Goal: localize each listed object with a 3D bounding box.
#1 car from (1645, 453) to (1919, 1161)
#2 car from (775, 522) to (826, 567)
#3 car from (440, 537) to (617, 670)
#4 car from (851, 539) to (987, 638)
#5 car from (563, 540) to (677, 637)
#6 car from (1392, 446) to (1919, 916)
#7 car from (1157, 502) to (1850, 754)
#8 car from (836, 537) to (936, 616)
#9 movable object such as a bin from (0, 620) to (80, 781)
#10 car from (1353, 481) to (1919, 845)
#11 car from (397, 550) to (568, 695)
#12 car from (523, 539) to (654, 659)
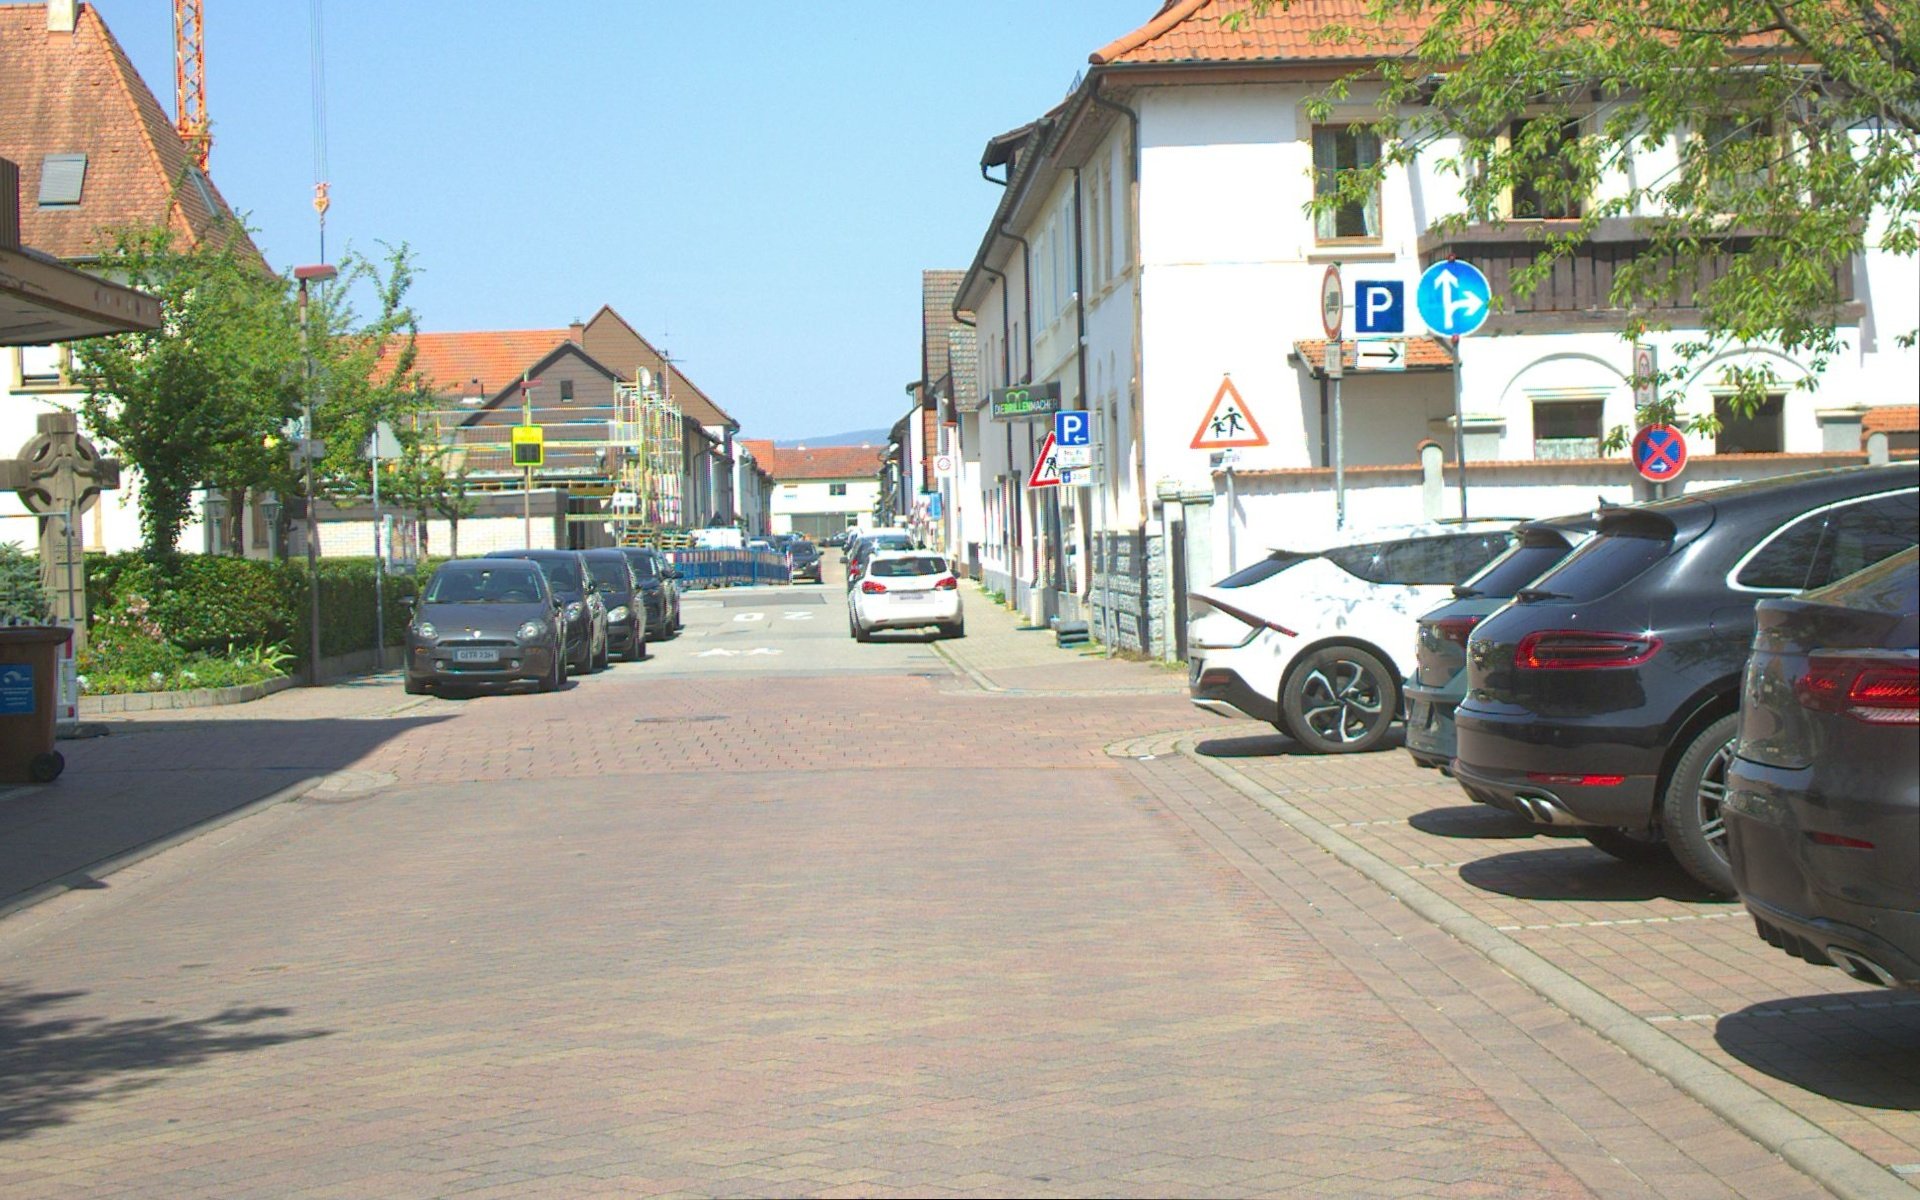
[{"bbox_3d":[4.170,0.340,8.593,4.508,1.583,1.850,-3,1,2],"label":"car"},{"bbox_3d":[-6.178,-2.168,132.998,1.881,1.662,4.154,-1,1,-3],"label":"car"},{"bbox_3d":[-5.608,0.008,45.092,1.815,1.599,4.025,-2,1,-1],"label":"car"},{"bbox_3d":[-0.656,-0.228,57.993,1.887,1.536,4.242,-2,1,4],"label":"car"},{"bbox_3d":[-6.052,-0.237,61.542,1.826,1.625,4.218,-2,1,-4],"label":"car"},{"bbox_3d":[4.080,0.216,13.892,4.278,1.675,2.001,-3,1,-3],"label":"car"},{"bbox_3d":[3.700,0.163,23.871,4.439,1.570,1.789,-1,1,-4],"label":"car"},{"bbox_3d":[-1.703,-0.554,77.634,1.884,1.550,3.895,-5,2,-5],"label":"car"},{"bbox_3d":[-6.414,0.686,23.562,0.655,1.066,0.664,-1,1,-8],"label":"movable object such as a bin"},{"bbox_3d":[4.070,0.227,16.878,3.944,1.528,1.824,-4,1,-2],"label":"car"},{"bbox_3d":[-5.395,0.215,39.196,1.702,1.491,3.858,-2,1,-5],"label":"car"},{"bbox_3d":[-5.453,-0.044,50.772,1.637,1.623,3.769,-2,2,-2],"label":"car"}]
